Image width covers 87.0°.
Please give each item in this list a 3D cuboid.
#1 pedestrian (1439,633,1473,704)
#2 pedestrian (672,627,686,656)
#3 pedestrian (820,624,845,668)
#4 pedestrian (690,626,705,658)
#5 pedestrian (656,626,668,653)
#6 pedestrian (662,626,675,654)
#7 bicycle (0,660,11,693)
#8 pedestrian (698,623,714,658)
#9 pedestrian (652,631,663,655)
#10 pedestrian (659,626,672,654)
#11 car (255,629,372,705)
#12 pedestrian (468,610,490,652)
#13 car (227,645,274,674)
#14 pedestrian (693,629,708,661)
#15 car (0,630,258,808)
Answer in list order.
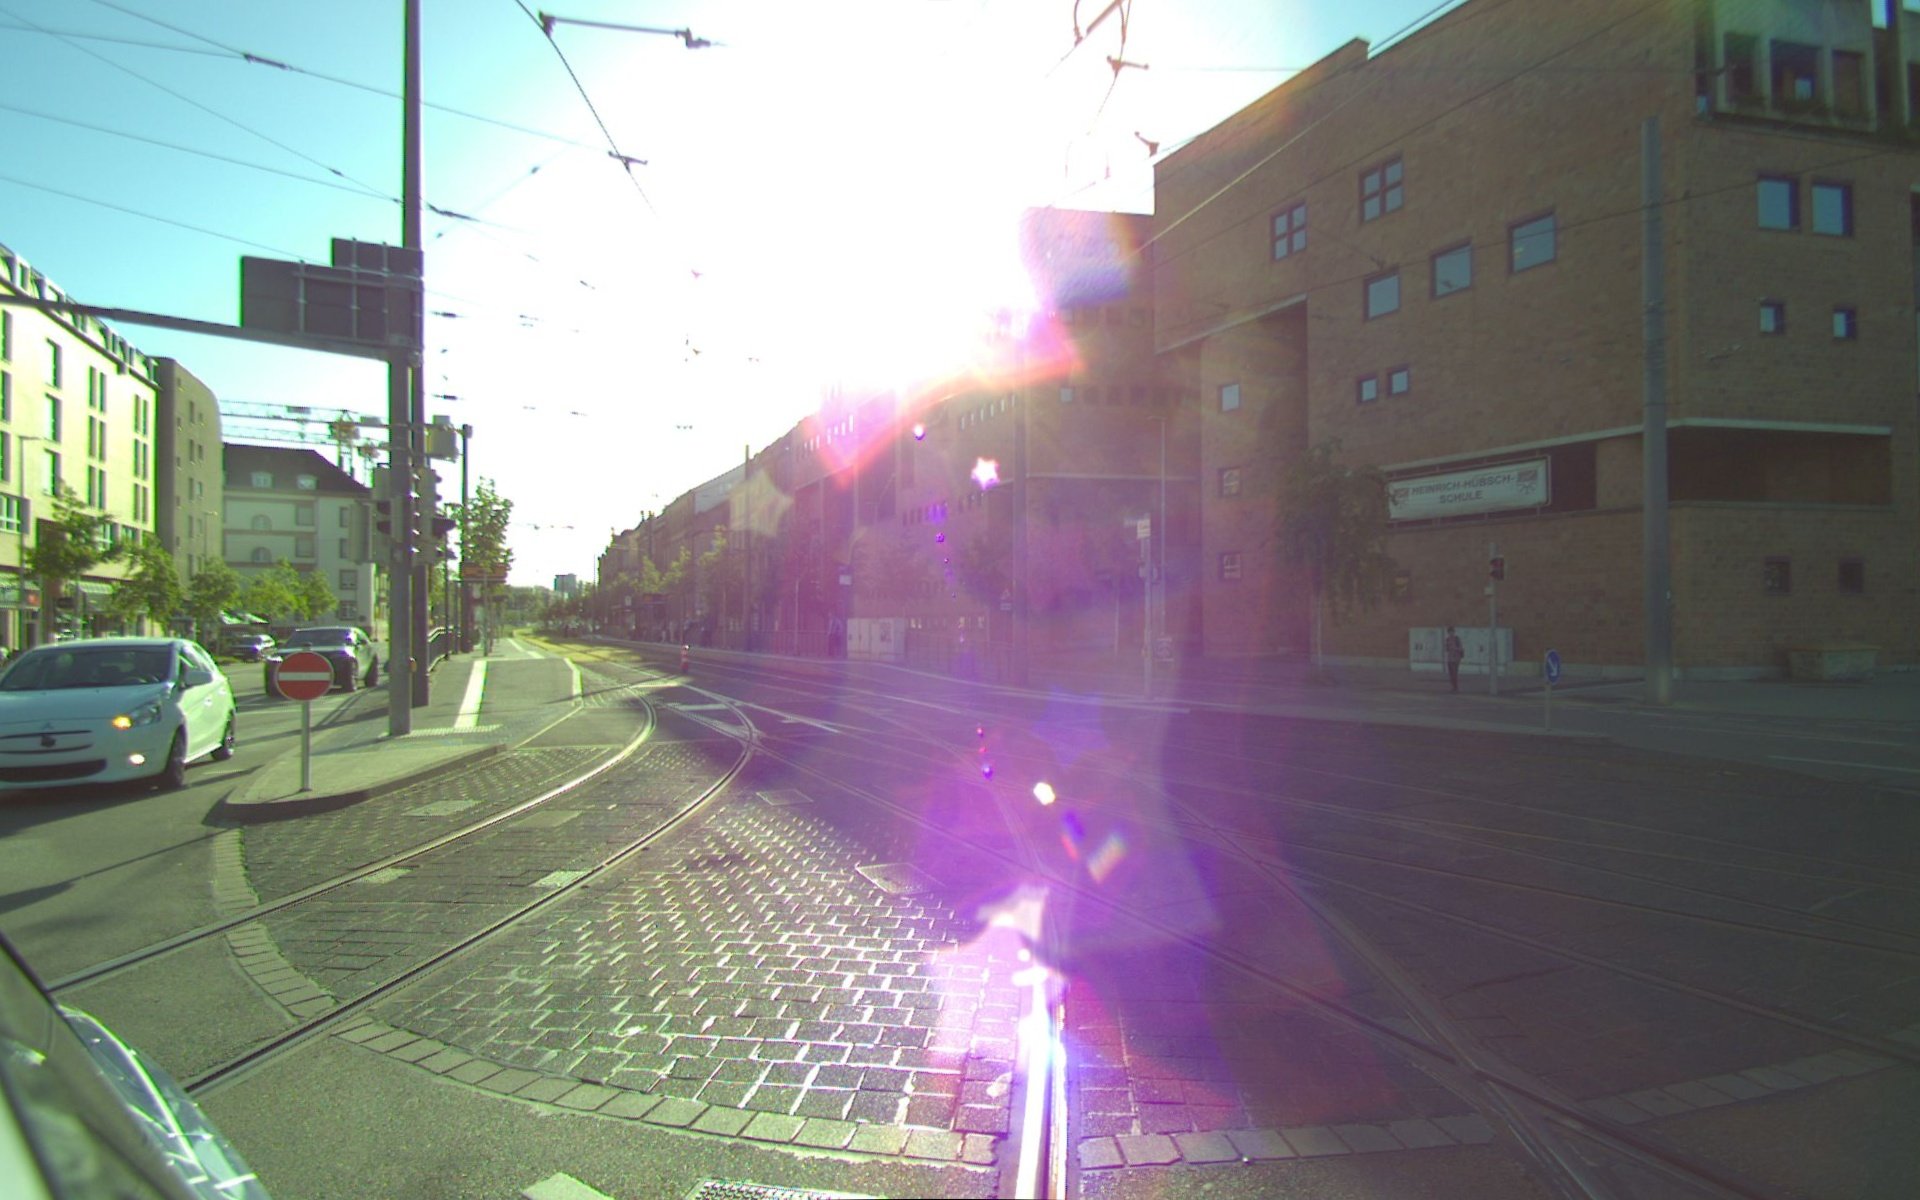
[{"bbox_3d":[11.749,1.612,23.969,0.501,1.629,0.506,-1,-1,-35],"label":"pedestrian"},{"bbox_3d":[-17.063,2.491,61.402,0.681,1.755,0.588,0,-2,-27],"label":"pedestrian"},{"bbox_3d":[-4.551,1.635,36.081,0.690,1.546,0.656,0,-2,-27],"label":"pedestrian"},{"bbox_3d":[-14.619,2.336,56.415,0.681,1.755,0.588,0,-2,-27],"label":"pedestrian"},{"bbox_3d":[-19.535,2.576,66.341,0.681,1.755,0.588,0,-2,-27],"label":"pedestrian"},{"bbox_3d":[-18.429,2.537,64.069,0.681,1.755,0.588,0,-2,-27],"label":"pedestrian"},{"bbox_3d":[-32.861,2.544,33.627,1.745,1.079,0.739,1,-1,-22],"label":"bicycle"},{"bbox_3d":[-12.833,2.019,51.152,0.681,1.755,0.588,0,-2,-27],"label":"pedestrian"},{"bbox_3d":[-20.595,2.909,68.892,0.681,1.587,0.588,0,-2,-27],"label":"pedestrian"},{"bbox_3d":[-18.943,2.556,65.061,0.681,1.755,0.588,0,-2,-27],"label":"pedestrian"},{"bbox_3d":[-16.600,1.642,26.196,1.922,1.674,4.370,-1,0,-25],"label":"car"},{"bbox_3d":[-23.980,1.537,50.435,0.866,2.029,0.786,1,-2,-37],"label":"pedestrian"},{"bbox_3d":[-42.964,3.577,61.333,1.628,1.541,3.705,-1,0,-24],"label":"car"},{"bbox_3d":[-14.254,2.467,55.666,0.681,1.755,0.588,0,-2,-27],"label":"pedestrian"},{"bbox_3d":[-8.821,1.103,10.609,1.613,1.478,4.200,-1,-2,-24],"label":"car"}]
